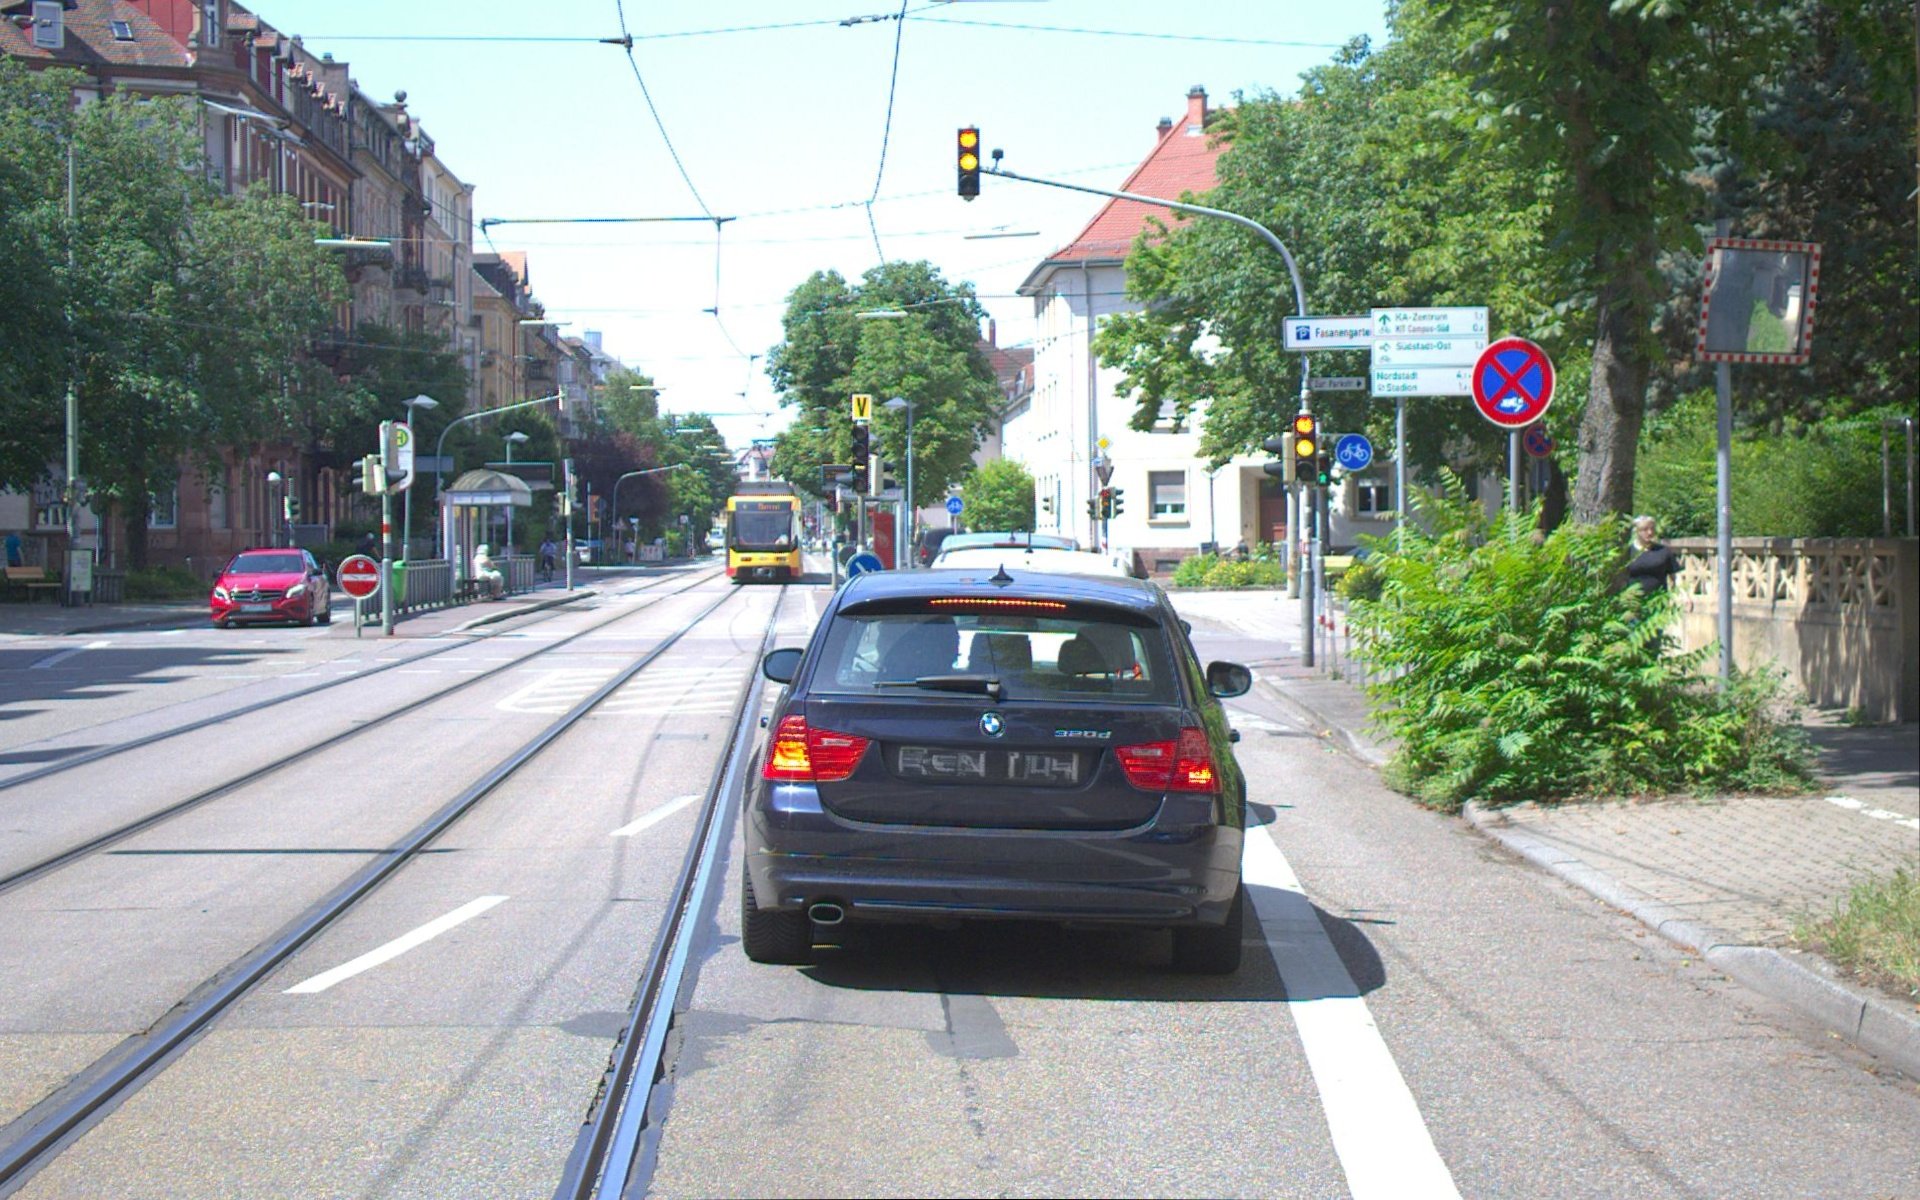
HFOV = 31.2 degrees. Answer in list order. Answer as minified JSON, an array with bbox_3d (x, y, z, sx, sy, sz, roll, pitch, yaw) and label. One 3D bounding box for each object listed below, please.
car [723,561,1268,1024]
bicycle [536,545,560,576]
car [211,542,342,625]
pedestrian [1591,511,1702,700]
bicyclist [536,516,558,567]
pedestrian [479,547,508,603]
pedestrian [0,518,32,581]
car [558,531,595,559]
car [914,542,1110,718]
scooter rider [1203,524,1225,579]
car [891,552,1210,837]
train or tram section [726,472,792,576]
[{"bbox_3d":[0.102,0.599,13.424,1.722,1.404,4.565,2,1,0],"label":"car"},{"bbox_3d":[-15.061,-1.439,125.565,0.728,1.098,1.716,0,1,-2],"label":"bicycle"},{"bbox_3d":[-12.600,-0.329,63.593,1.822,1.408,4.430,-2,1,-4],"label":"car"},{"bbox_3d":[6.089,0.043,30.530,0.857,1.640,0.836,-1,1,6],"label":"pedestrian"},{"bbox_3d":[-15.062,-2.137,125.417,0.722,1.864,0.825,0,1,-1],"label":"bicyclist"},{"bbox_3d":[-10.459,-0.561,77.064,0.613,1.238,0.628,0,1,-8],"label":"pedestrian"},{"bbox_3d":[-27.576,-1.475,100.351,0.738,1.805,0.641,-1,1,-39],"label":"pedestrian"},{"bbox_3d":[-22.470,-3.213,201.321,1.787,1.580,4.001,1,0,-11],"label":"car"},{"bbox_3d":[0.486,0.231,32.202,1.691,1.508,3.821,1,1,1],"label":"car"},{"bbox_3d":[7.823,-1.492,105.968,0.590,1.681,0.528,0,1,-8],"label":"scooter rider"},{"bbox_3d":[0.468,0.479,20.118,1.685,1.479,3.685,0,1,0],"label":"car"},{"bbox_3d":[-6.956,-2.635,119.875,2.190,3.470,8.846,0,1,-3],"label":"train or tram section"}]
